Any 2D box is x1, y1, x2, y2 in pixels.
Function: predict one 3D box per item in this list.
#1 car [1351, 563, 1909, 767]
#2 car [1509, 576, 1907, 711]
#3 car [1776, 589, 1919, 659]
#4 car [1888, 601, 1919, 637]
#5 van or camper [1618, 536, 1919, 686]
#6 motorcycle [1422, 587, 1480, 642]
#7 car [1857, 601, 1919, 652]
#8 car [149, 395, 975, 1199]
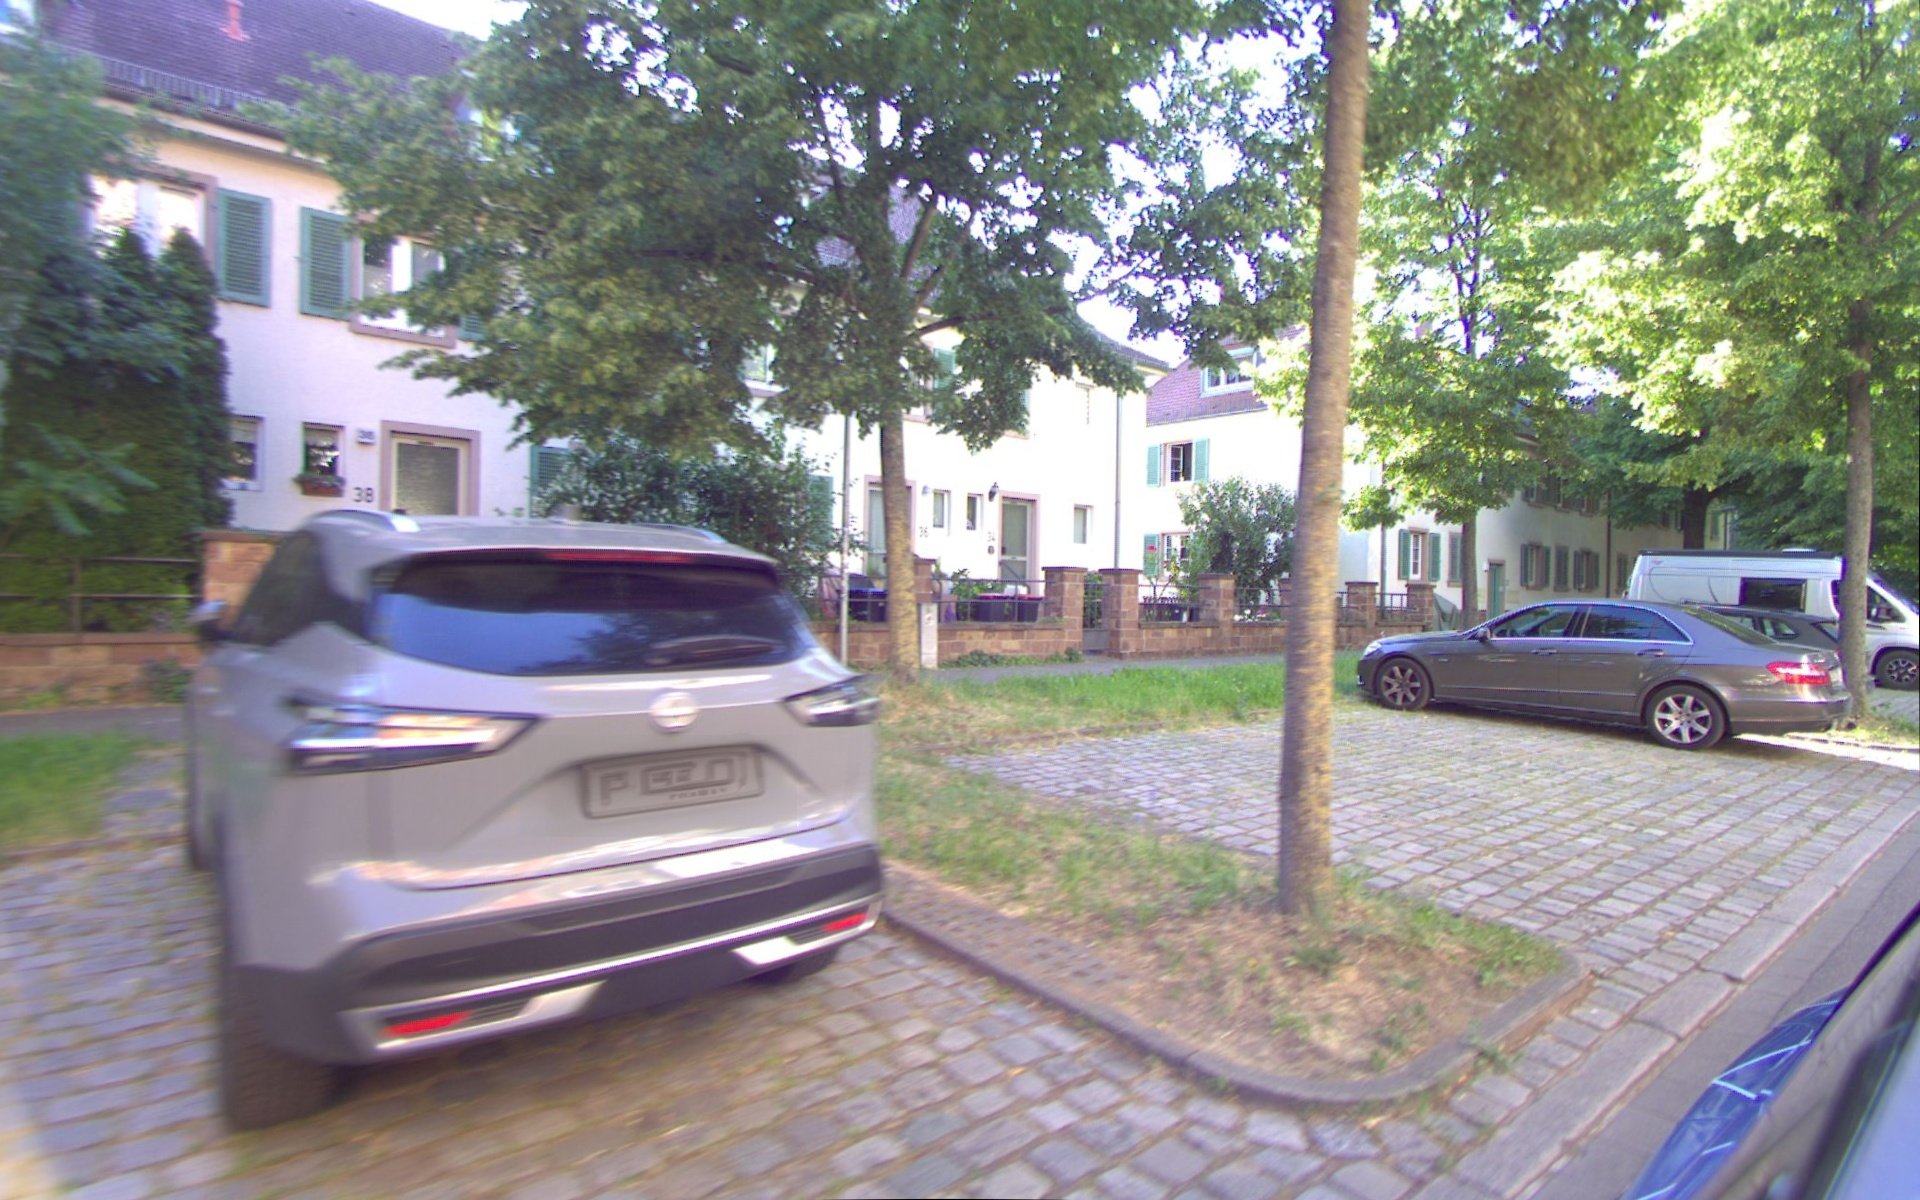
[{"bbox_3d":[7.179,0.514,11.348,1.862,1.558,4.847,1,4,-42],"label":"car"},{"bbox_3d":[11.074,0.527,15.301,1.795,1.453,4.488,1,4,-40],"label":"car"},{"bbox_3d":[25.991,0.686,28.307,1.966,1.737,4.603,1,3,-42],"label":"car"},{"bbox_3d":[42.432,0.881,43.242,1.546,1.531,3.991,1,2,-43],"label":"car"},{"bbox_3d":[16.906,0.136,20.299,2.124,2.547,5.734,1,4,-40],"label":"van or camper"},{"bbox_3d":[13.091,0.364,26.951,1.981,1.424,0.660,0,0,-41],"label":"motorcycle"},{"bbox_3d":[31.702,0.917,32.585,1.527,1.571,3.996,1,1,-40],"label":"car"},{"bbox_3d":[-2.140,0.261,4.280,1.842,1.653,4.486,1,4,-41],"label":"car"}]
